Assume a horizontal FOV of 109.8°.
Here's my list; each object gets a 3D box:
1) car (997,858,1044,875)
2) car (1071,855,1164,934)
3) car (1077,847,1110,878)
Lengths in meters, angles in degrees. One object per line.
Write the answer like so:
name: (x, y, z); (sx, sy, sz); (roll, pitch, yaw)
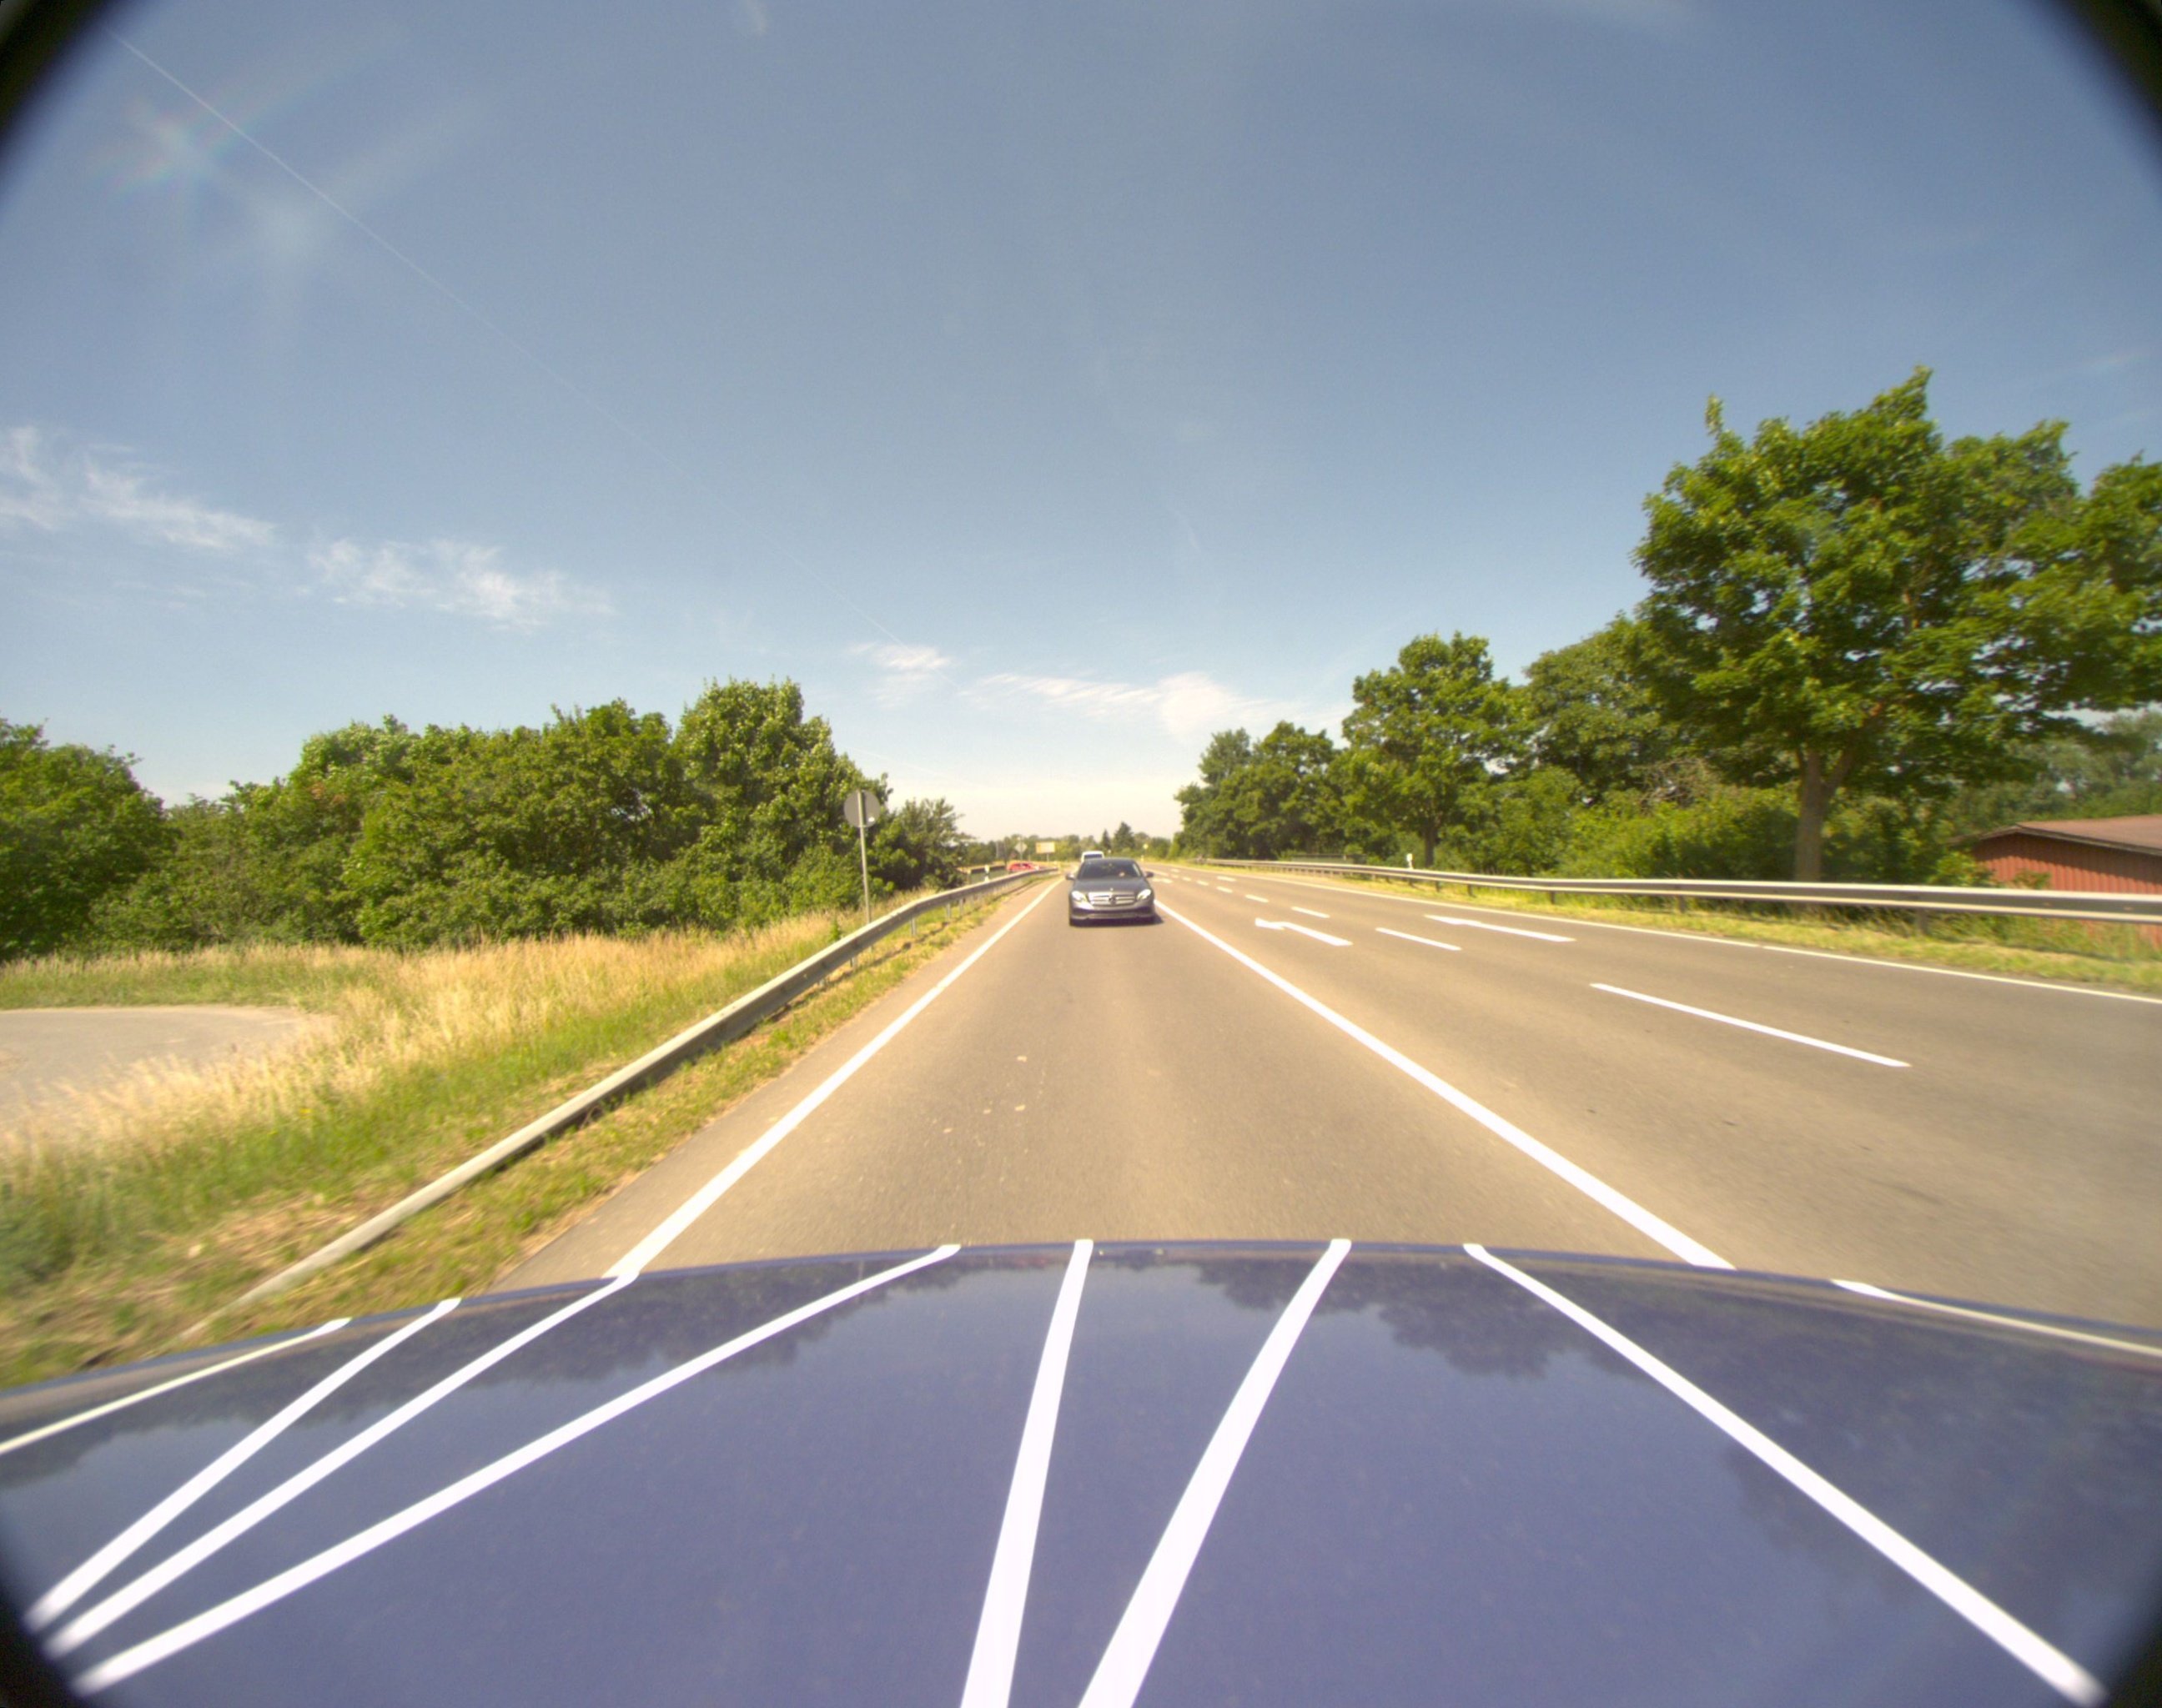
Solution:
car: (-5.988, 1.253, 75.206); (4.159, 1.410, 1.781); (-4, 1, 14)
car: (0.835, 0.833, 17.923); (1.831, 1.540, 4.499); (-3, 0, 2)
car: (0.929, 0.564, 56.659); (2.179, 2.002, 5.025); (-6, 0, 1)
